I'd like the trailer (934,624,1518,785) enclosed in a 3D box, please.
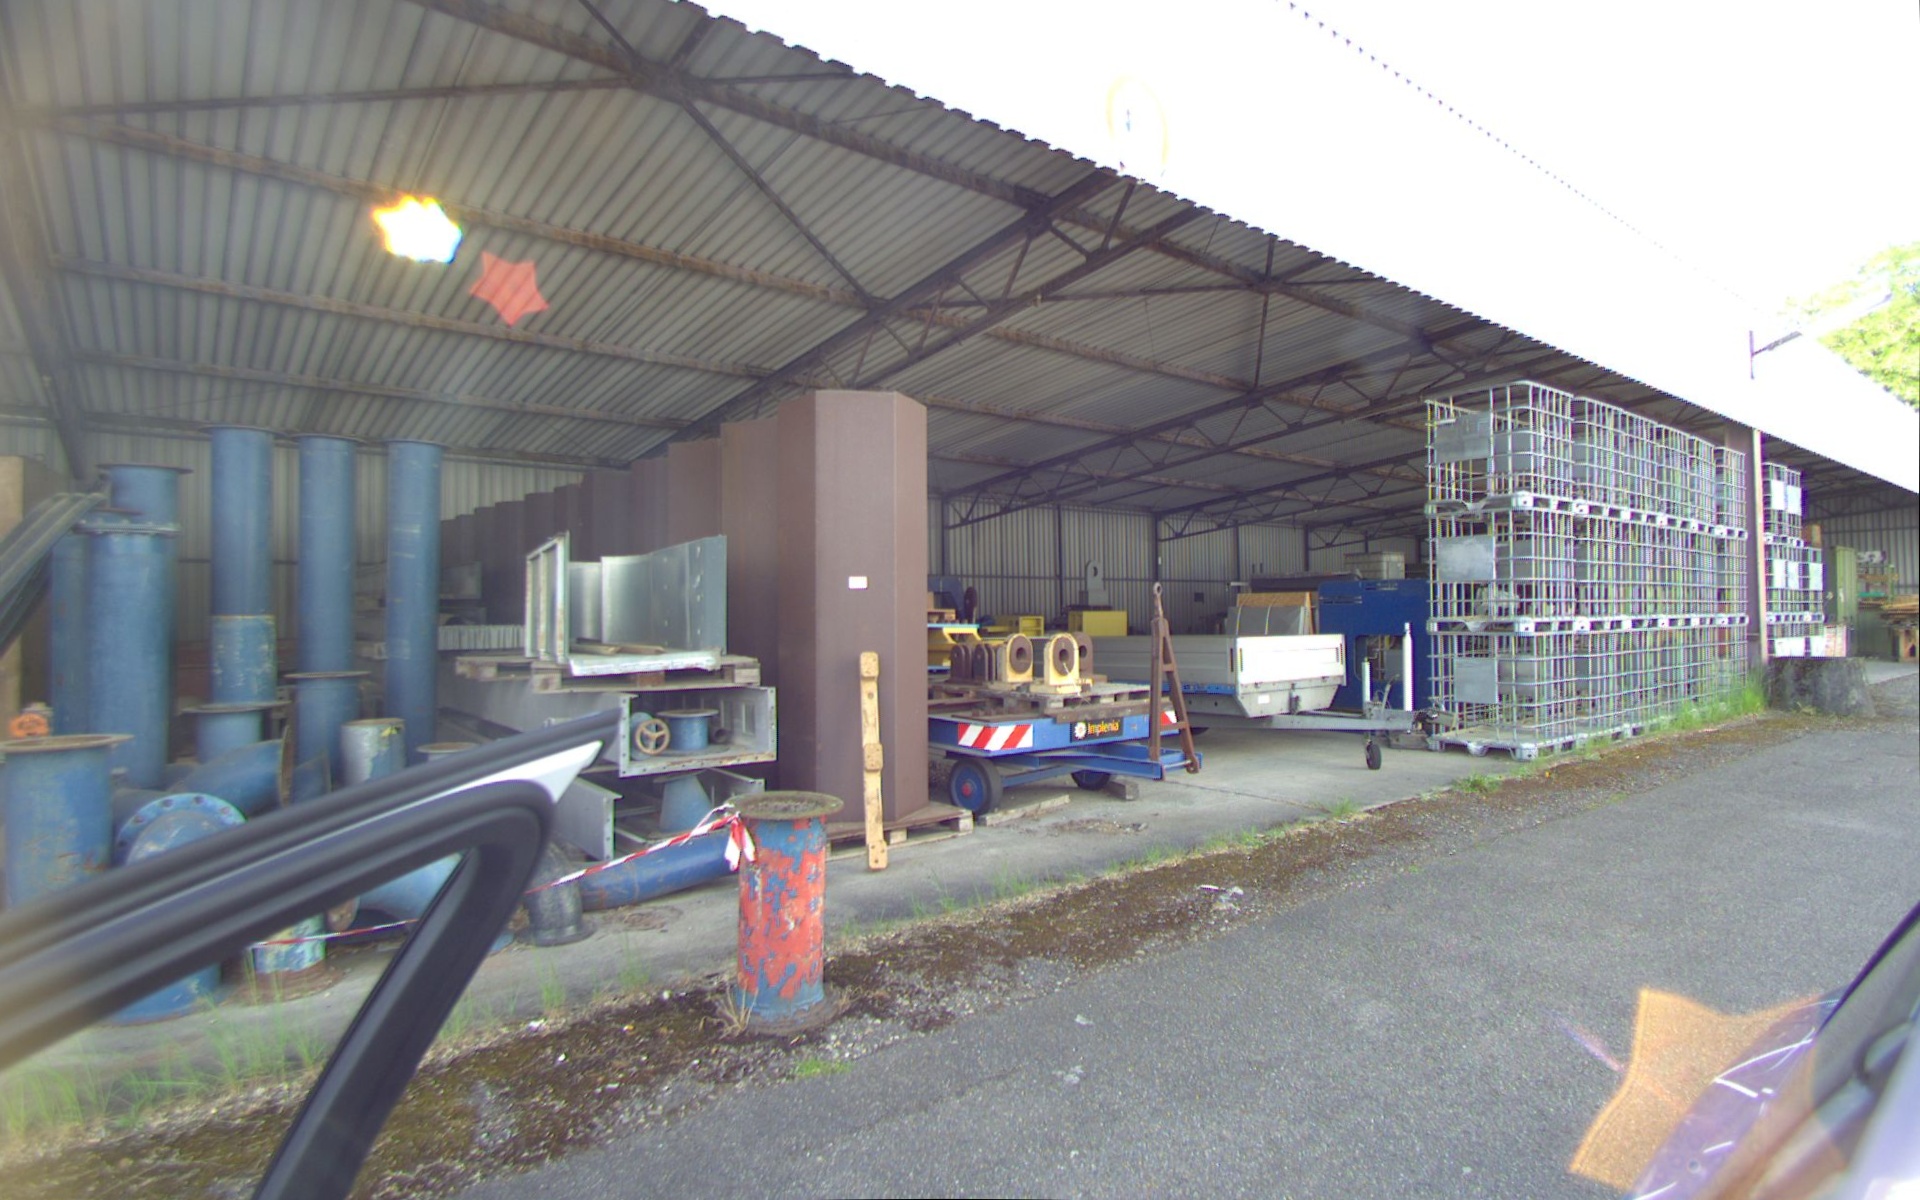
[{"bbox_3d":[2.288,0.849,10.501,1.993,1.134,5.834,0,-1,-39],"label":"trailer"}]

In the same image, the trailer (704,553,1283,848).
[{"bbox_3d":[-0.088,0.582,8.209,1.993,1.649,4.877,0,-1,-39],"label":"trailer"}]

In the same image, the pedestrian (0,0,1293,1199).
[{"bbox_3d":[-0.210,0.564,0.559,0.560,1.809,0.551,0,-1,-41],"label":"pedestrian"}]
